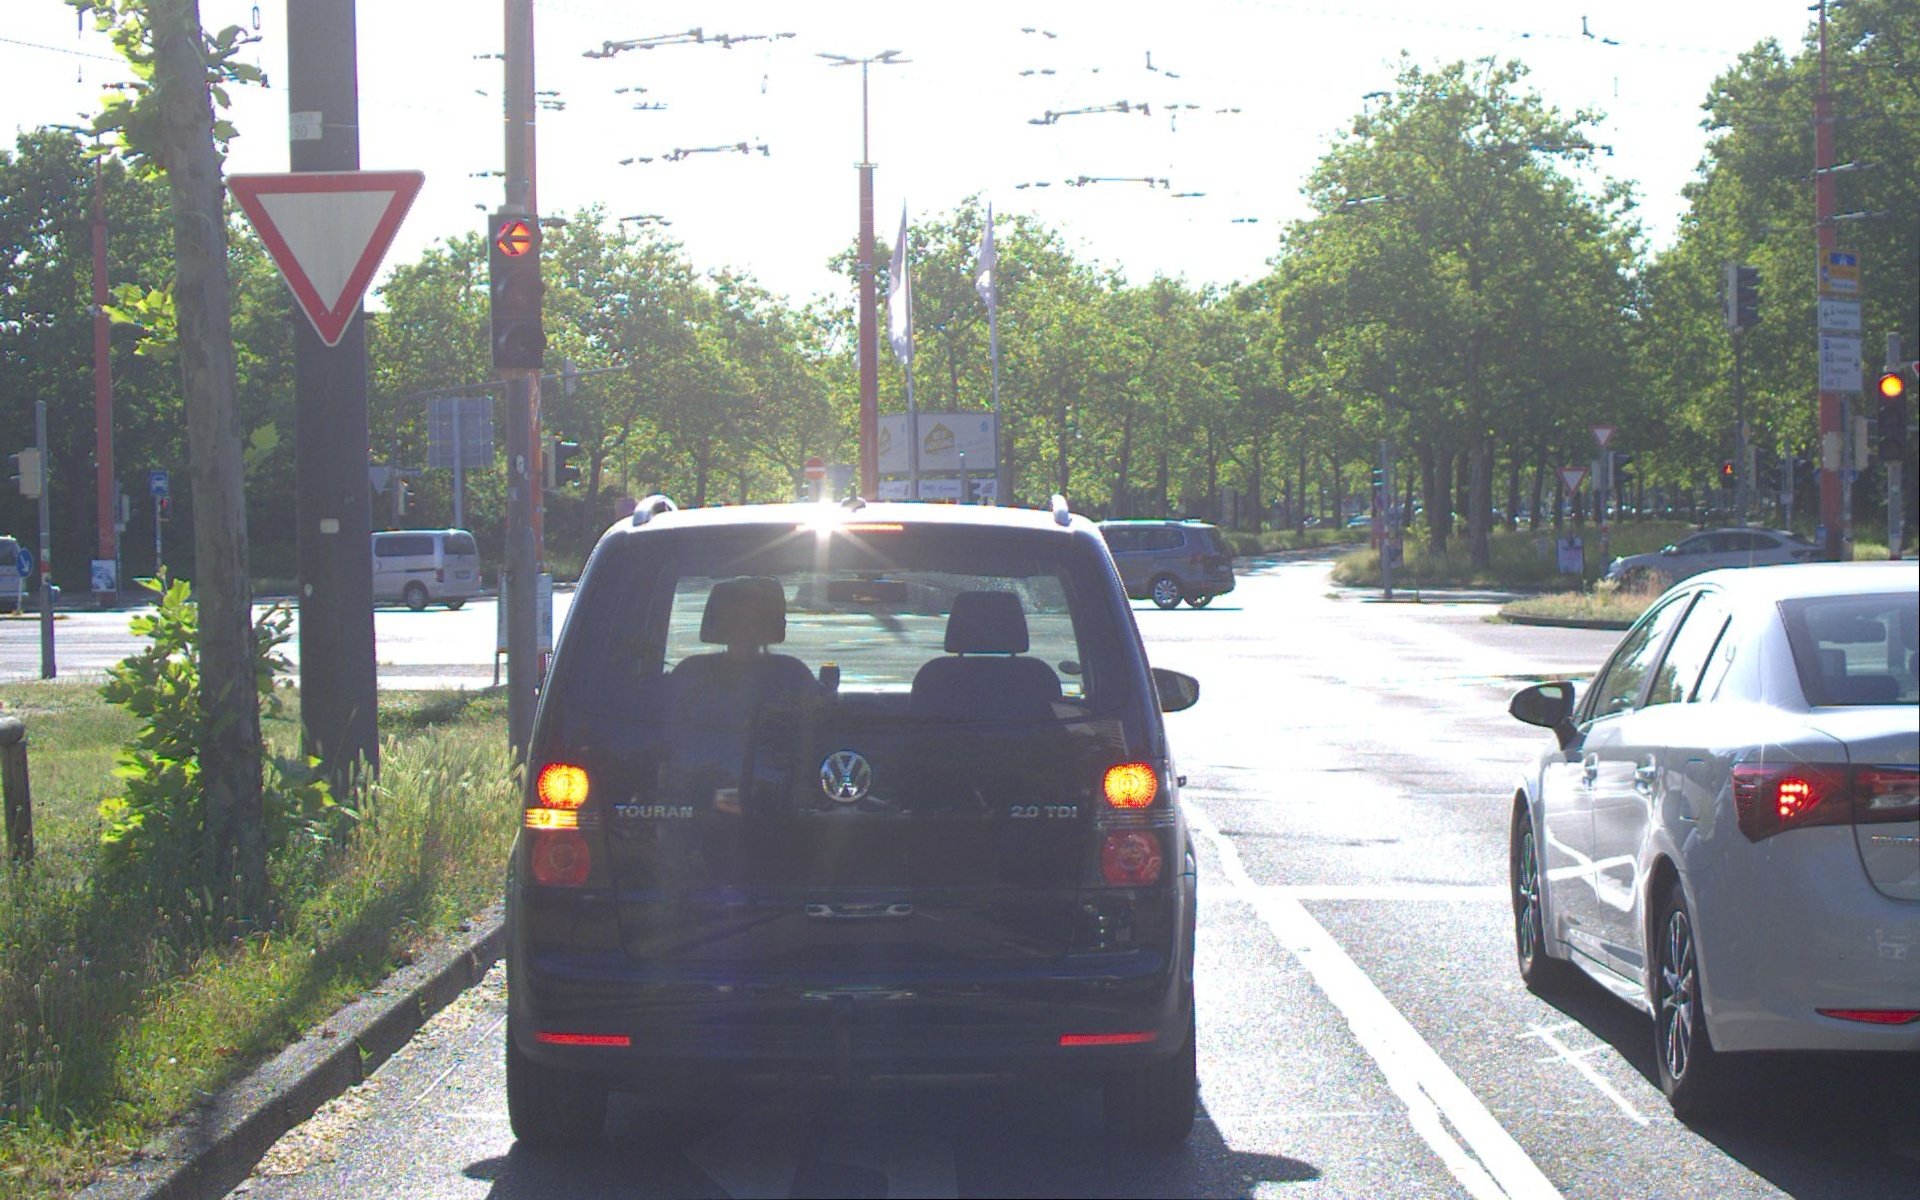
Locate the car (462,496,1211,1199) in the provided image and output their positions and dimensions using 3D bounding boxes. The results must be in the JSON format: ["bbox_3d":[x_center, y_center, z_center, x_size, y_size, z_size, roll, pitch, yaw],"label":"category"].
[{"bbox_3d":[-0.311,0.539,9.813,1.700,1.616,3.897,0,1,-1],"label":"car"}]

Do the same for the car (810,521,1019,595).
[{"bbox_3d":[-0.985,-0.912,74.528,4.127,1.505,1.820,1,1,26],"label":"car"}]

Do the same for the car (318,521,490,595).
[{"bbox_3d":[-12.985,-0.972,80.280,3.647,1.650,1.678,1,1,25],"label":"car"}]

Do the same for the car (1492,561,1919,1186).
[{"bbox_3d":[2.721,0.621,10.112,1.720,1.433,4.198,1,1,1],"label":"car"}]

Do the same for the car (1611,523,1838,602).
[{"bbox_3d":[14.757,-0.728,66.397,3.969,1.436,1.684,1,1,27],"label":"car"}]

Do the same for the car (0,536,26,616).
[{"bbox_3d":[-24.257,-0.605,81.411,3.837,1.883,1.762,1,1,23],"label":"car"}]

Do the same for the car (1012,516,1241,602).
[{"bbox_3d":[3.324,-0.822,68.649,4.185,1.638,1.757,1,1,27],"label":"car"}]
